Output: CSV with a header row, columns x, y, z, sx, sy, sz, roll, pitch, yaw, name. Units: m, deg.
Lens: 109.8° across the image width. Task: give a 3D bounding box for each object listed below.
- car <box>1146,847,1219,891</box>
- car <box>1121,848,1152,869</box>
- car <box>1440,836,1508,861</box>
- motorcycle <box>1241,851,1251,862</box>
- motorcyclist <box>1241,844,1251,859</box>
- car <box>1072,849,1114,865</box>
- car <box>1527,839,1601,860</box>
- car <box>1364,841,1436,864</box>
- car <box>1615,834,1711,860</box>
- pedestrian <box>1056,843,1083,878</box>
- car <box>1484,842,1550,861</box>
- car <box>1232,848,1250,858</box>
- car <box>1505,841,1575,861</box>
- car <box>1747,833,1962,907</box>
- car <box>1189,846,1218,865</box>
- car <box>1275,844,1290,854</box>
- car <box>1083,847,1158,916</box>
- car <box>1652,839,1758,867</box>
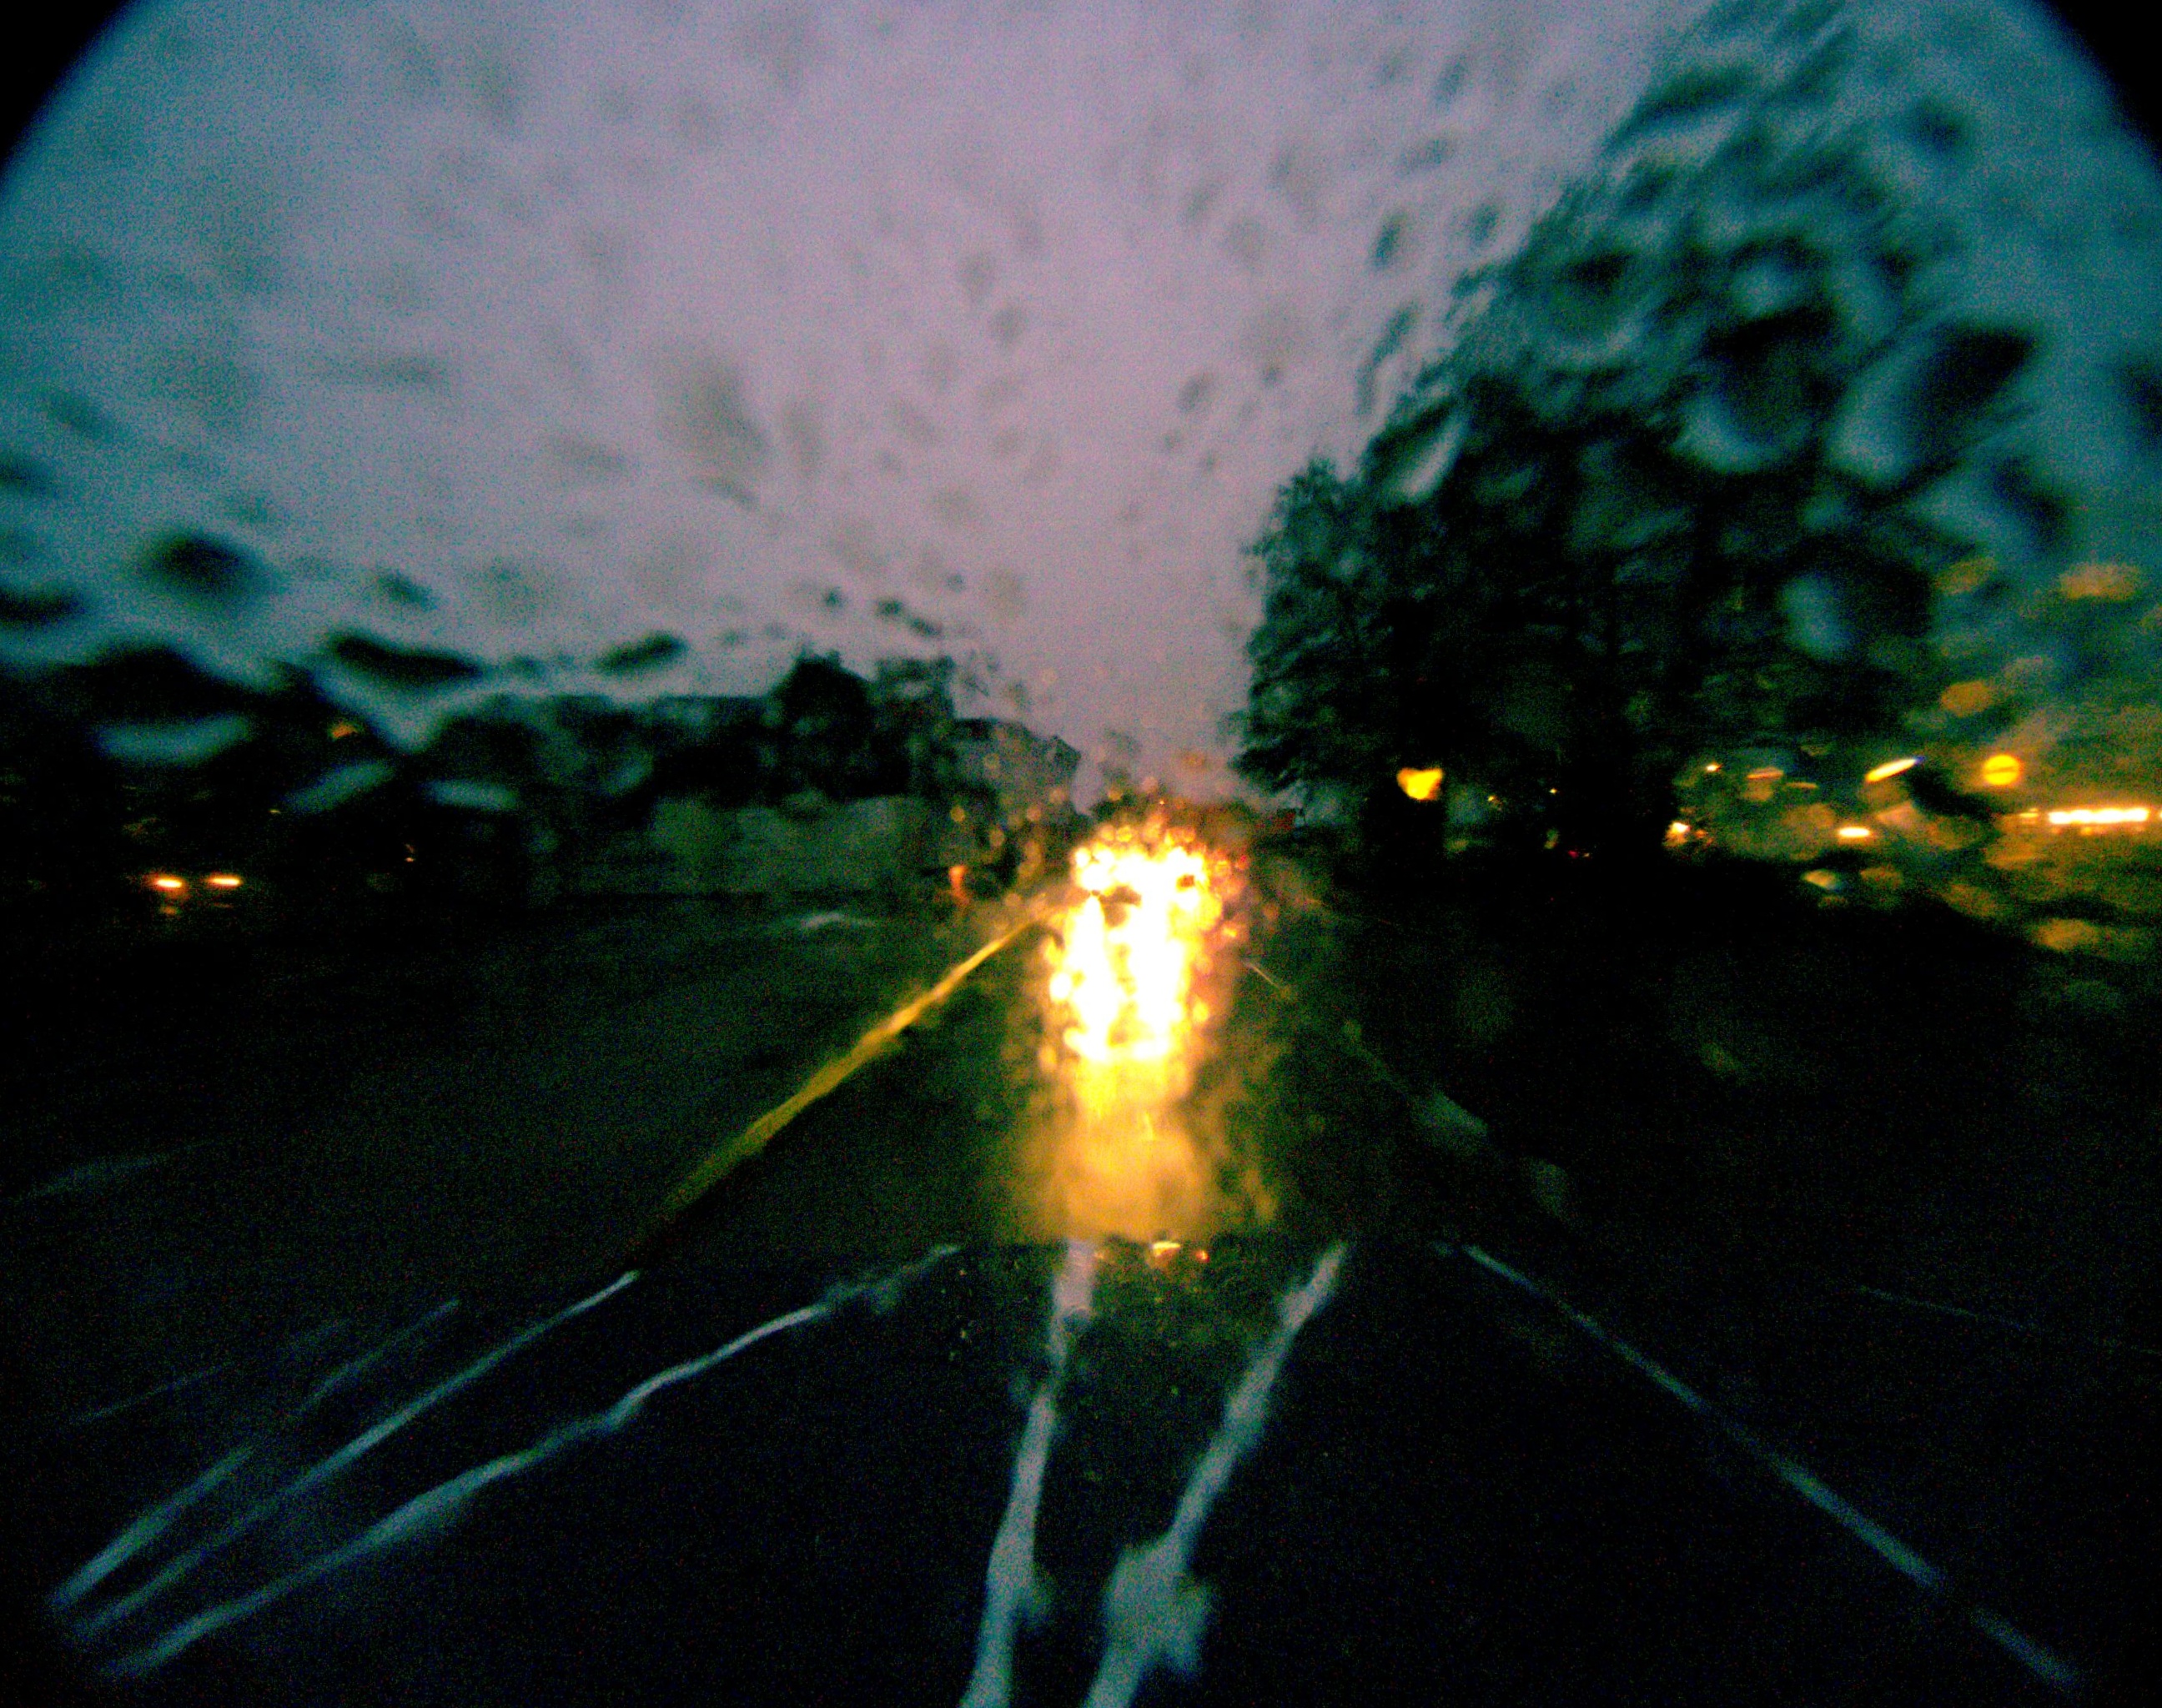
x,y,z,sx,sy,sz,roll,pitch,yaw,name
4.666,0.628,34.281,1.895,1.689,4.246,-3,1,27,car
4.175,0.303,56.575,1.997,1.464,4.002,-2,0,8,car
36.978,-0.538,71.600,5.198,2.269,2.219,0,0,0,car
16.052,0.272,73.832,0.867,1.018,2.111,-2,1,10,motorcycle
16.031,-0.235,73.807,0.867,1.477,0.909,-2,1,10,motorcyclist
1.315,0.353,79.125,4.179,1.432,1.798,-2,-1,5,car
37.394,-0.321,58.863,4.441,1.554,2.055,0,0,0,car
25.121,-0.092,59.912,4.782,1.702,2.033,-1,0,-1,car
36.332,-0.441,47.526,4.441,1.554,2.055,0,0,0,car
-0.615,0.362,41.566,1.257,1.855,1.304,1,1,9,pedestrian
36.849,-0.195,64.331,4.441,1.554,2.055,0,0,0,car
23.949,-0.215,113.741,1.773,1.422,3.803,-2,0,24,car
37.246,-0.263,61.776,4.441,1.554,2.055,0,0,0,car
23.837,0.495,23.531,4.660,1.965,2.127,-3,-1,-5,car
11.342,0.127,70.232,1.773,1.713,4.427,-1,0,20,car
38.134,-0.878,143.717,1.944,1.795,4.179,-1,0,24,car
1.148,0.649,20.609,1.775,1.632,4.423,-1,0,5,car
36.001,-0.031,43.908,4.441,1.554,2.055,0,0,0,car
